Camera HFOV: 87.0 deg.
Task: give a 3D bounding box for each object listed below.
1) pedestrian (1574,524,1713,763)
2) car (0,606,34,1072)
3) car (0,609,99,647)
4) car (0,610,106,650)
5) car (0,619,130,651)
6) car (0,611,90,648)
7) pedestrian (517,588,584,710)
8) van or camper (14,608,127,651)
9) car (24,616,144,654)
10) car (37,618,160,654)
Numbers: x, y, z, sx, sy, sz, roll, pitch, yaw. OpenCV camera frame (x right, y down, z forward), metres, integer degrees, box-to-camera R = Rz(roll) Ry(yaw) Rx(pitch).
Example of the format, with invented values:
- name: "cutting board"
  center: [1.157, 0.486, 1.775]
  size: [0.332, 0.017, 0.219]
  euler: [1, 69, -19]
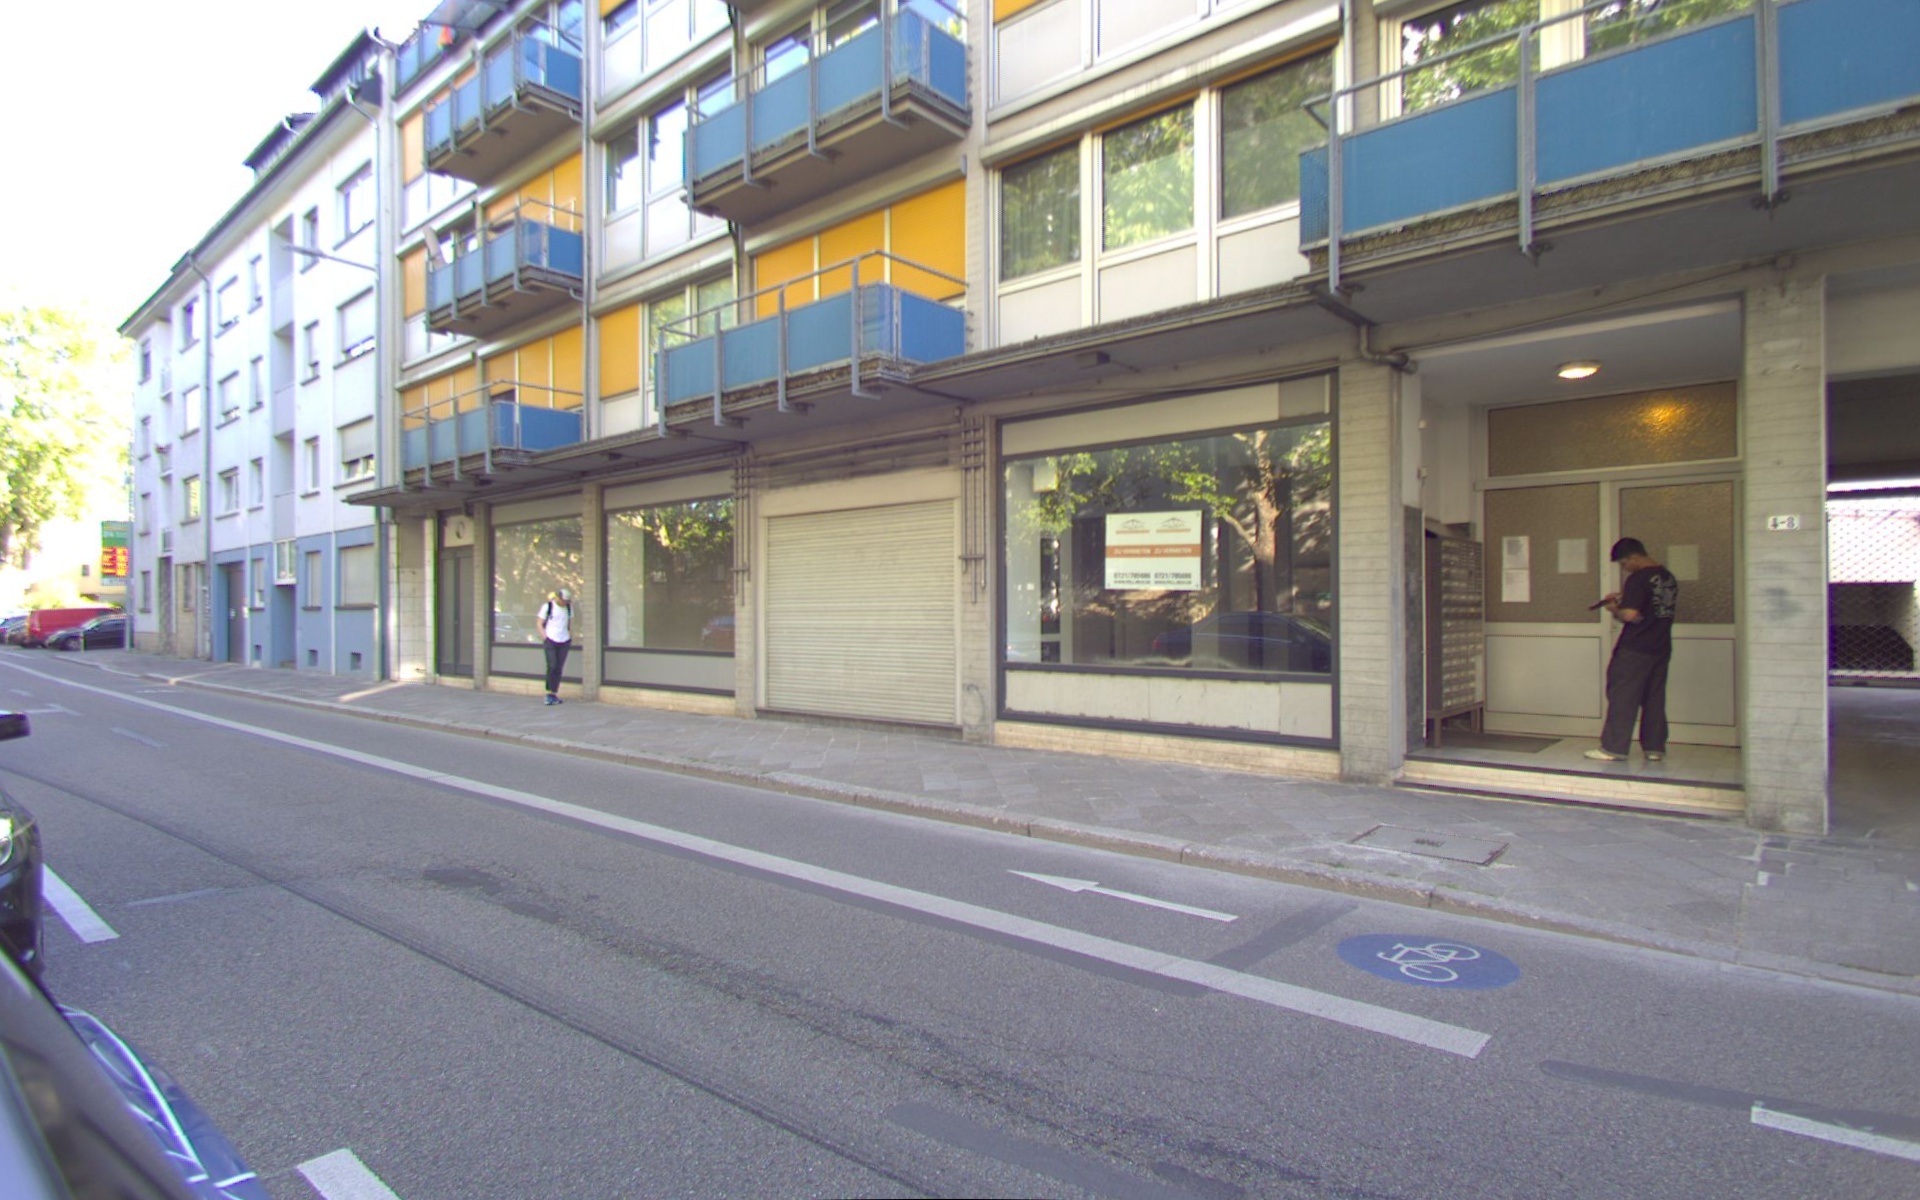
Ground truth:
- name: "pedestrian"
  center: [5.164, 0.312, 7.663]
  size: [0.650, 1.726, 0.550]
  euler: [0, -1, -16]
- name: "car"
  center: [-5.003, 0.783, 3.847]
  size: [3.861, 1.467, 1.718]
  euler: [-1, -1, 40]
- name: "car"
  center: [-55.397, 1.671, 61.138]
  size: [1.999, 2.210, 4.927]
  euler: [-1, -1, 41]
- name: "car"
  center: [-53.310, 1.736, 59.187]
  size: [1.999, 2.210, 4.927]
  euler: [-1, -1, 41]
- name: "car"
  center: [-45.717, 1.750, 51.688]
  size: [1.999, 1.506, 4.927]
  euler: [-1, -1, 41]
- name: "car"
  center: [-57.391, 1.821, 62.847]
  size: [1.999, 2.210, 4.927]
  euler: [-1, -1, 41]
- name: "pedestrian"
  center: [-6.311, 0.735, 15.594]
  size: [0.879, 1.813, 0.593]
  euler: [-1, 0, 42]
- name: "van or camper"
  center: [-43.884, 1.430, 49.996]
  size: [1.999, 2.029, 3.946]
  euler: [-1, -1, 40]
- name: "car"
  center: [-41.628, 1.620, 48.154]
  size: [1.999, 1.703, 4.093]
  euler: [-1, -1, 41]
- name: "car"
  center: [-39.747, 1.632, 46.769]
  size: [1.999, 1.506, 4.093]
  euler: [-1, -1, 41]
